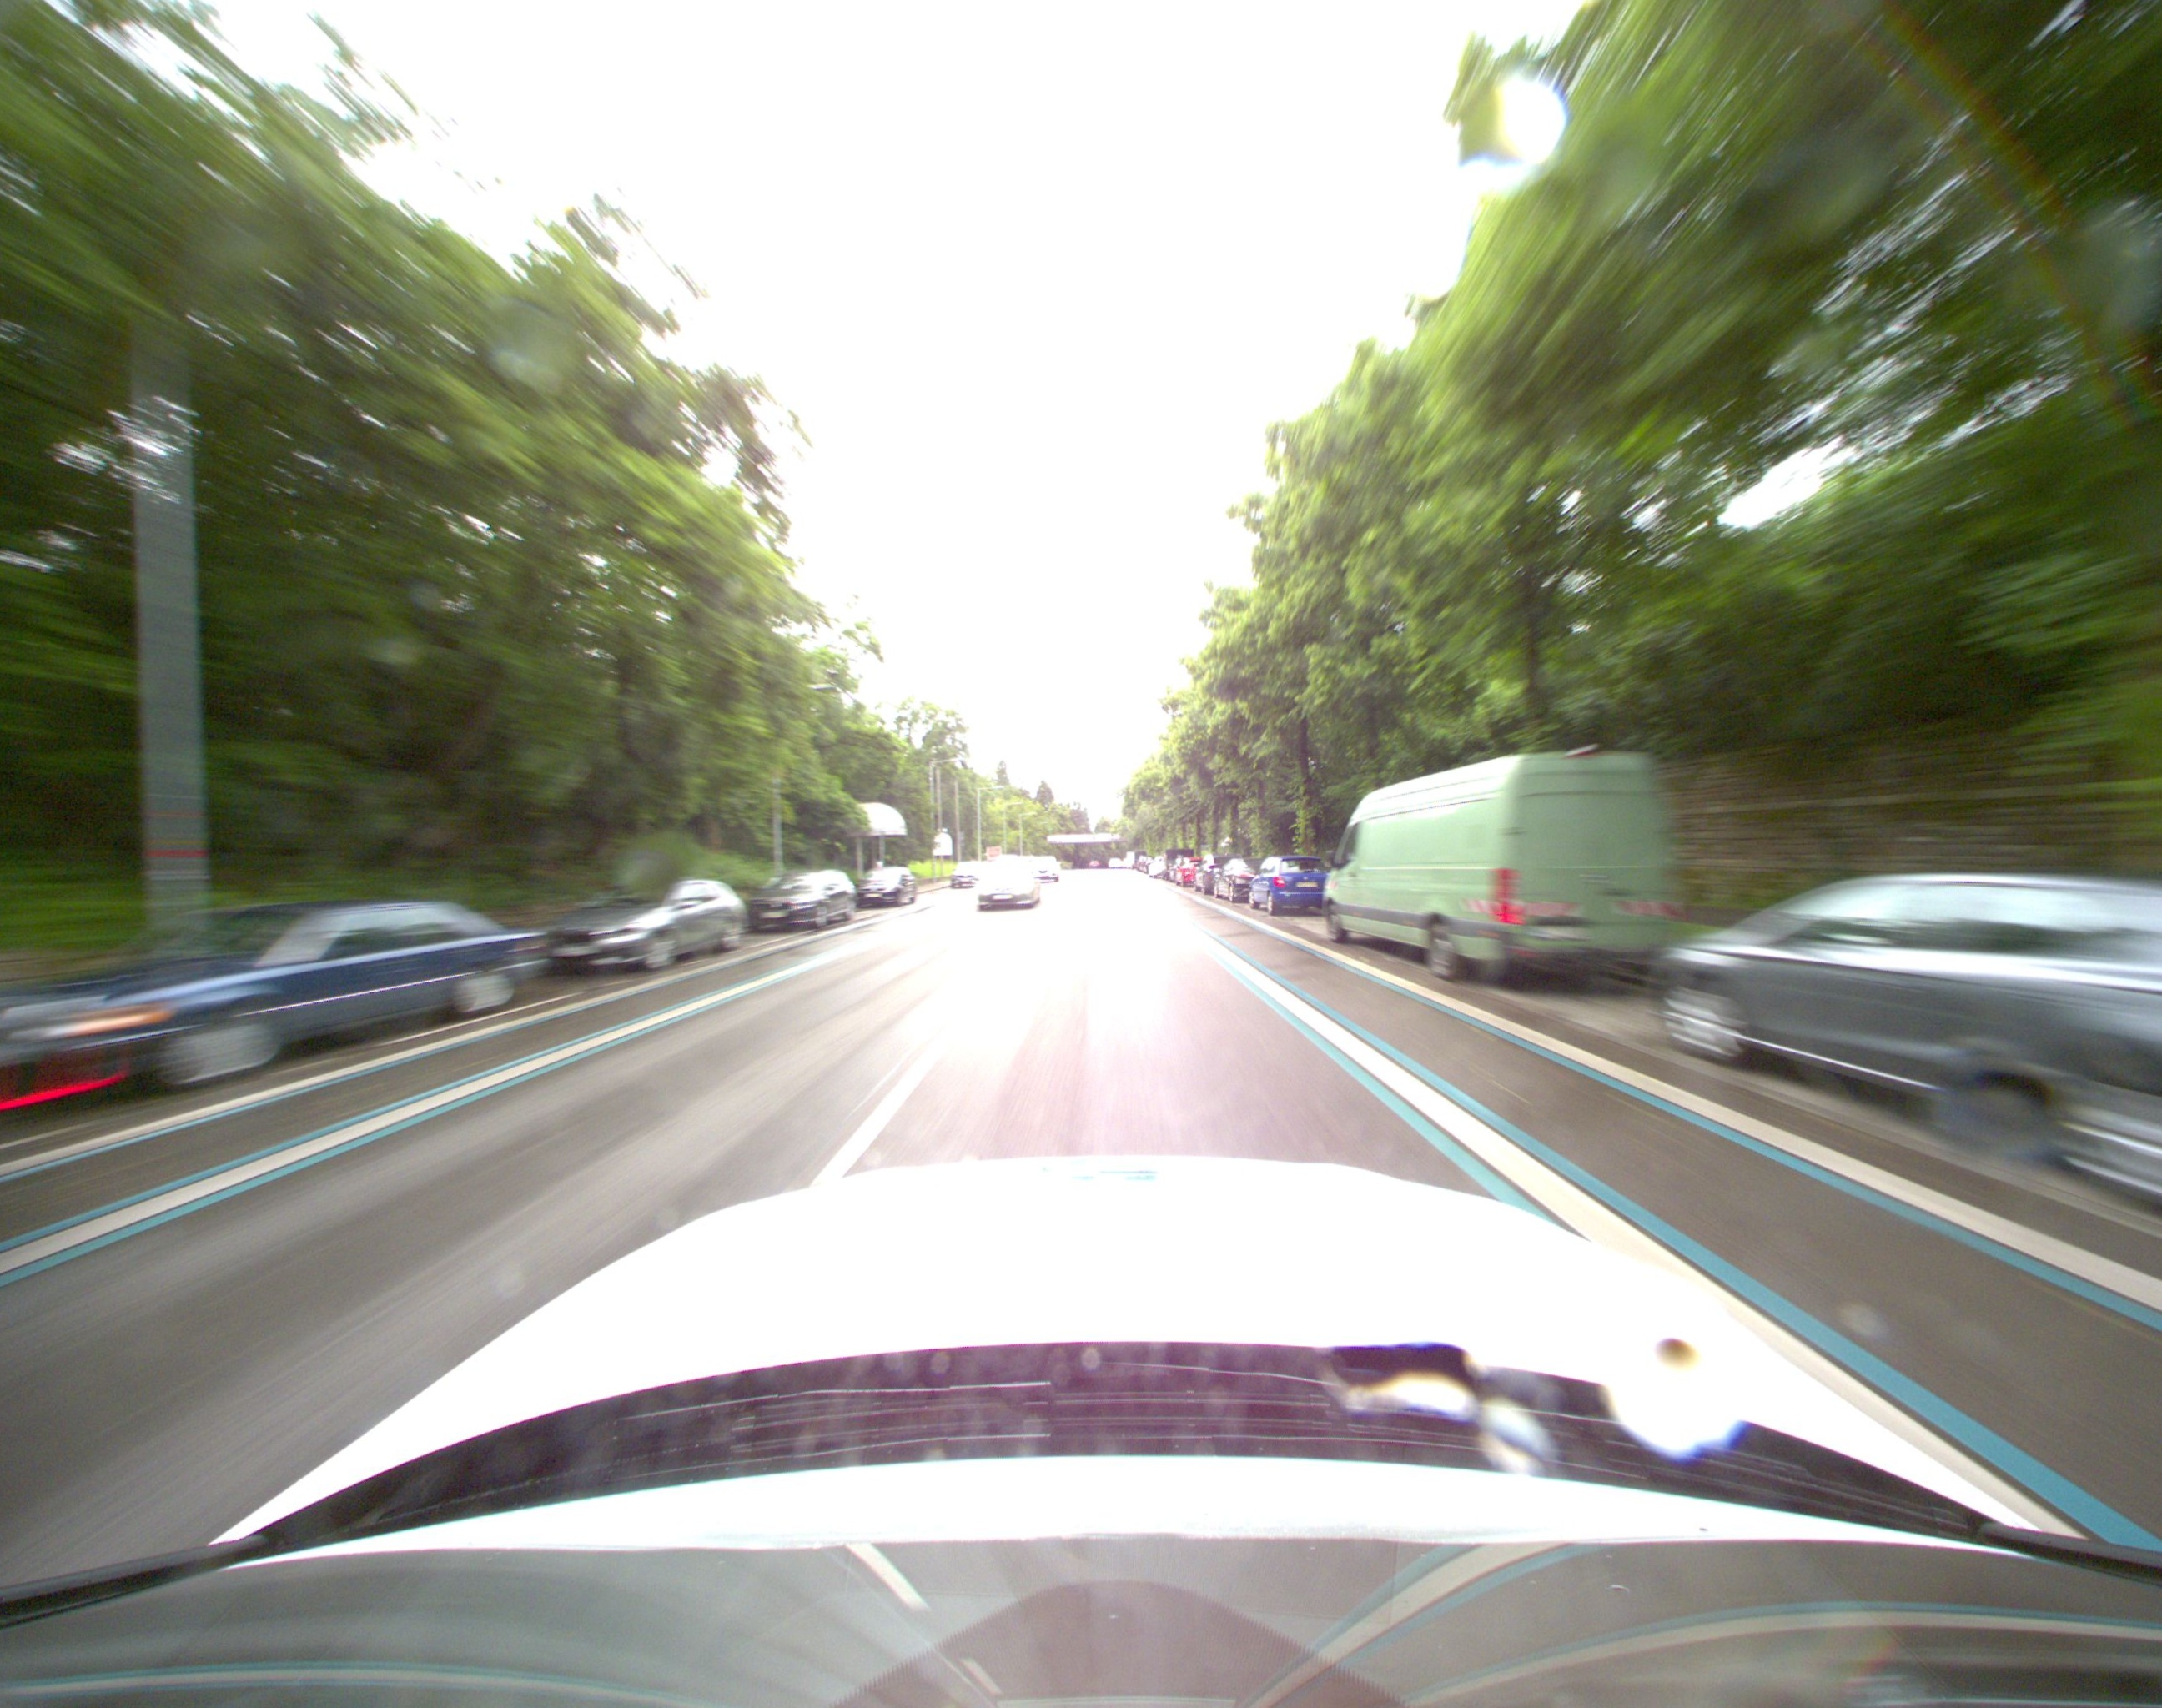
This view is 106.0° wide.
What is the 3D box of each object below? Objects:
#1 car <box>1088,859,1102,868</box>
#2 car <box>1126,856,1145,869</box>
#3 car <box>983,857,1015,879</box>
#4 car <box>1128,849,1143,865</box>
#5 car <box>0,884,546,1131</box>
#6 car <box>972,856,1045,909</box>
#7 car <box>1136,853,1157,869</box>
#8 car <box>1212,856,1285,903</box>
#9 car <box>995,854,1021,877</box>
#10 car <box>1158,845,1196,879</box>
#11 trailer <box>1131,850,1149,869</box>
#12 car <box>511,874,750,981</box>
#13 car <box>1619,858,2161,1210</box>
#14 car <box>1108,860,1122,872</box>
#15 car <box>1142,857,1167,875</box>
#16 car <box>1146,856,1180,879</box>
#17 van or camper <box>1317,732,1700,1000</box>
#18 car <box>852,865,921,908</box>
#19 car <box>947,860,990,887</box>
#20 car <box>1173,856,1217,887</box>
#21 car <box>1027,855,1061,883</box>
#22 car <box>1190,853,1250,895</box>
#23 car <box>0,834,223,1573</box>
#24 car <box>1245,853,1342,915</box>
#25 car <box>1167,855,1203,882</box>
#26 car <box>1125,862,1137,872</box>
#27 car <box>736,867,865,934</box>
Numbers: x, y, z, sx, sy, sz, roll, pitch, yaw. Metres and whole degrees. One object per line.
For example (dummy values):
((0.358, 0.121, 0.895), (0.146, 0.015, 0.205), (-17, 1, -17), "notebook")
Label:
((2.354, 1.646, 138.417), (2.135, 1.492, 4.494), (0, 0, -3), "car")
((6.619, 1.014, 98.550), (1.728, 1.583, 4.148), (-2, 0, -4), "car")
((-6.800, 1.127, 68.180), (1.983, 1.605, 4.987), (-2, 0, 2), "car")
((7.436, 0.414, 111.212), (1.882, 2.127, 4.047), (-1, 0, 2), "car")
((-7.893, 1.153, 8.031), (1.977, 1.472, 4.897), (-1, 0, 0), "car")
((-2.335, 0.885, 27.294), (1.914, 1.560, 4.621), (-1, 0, 1), "car")
((6.546, 0.725, 82.237), (1.726, 1.583, 4.152), (0, 0, -1), "car")
((5.540, 0.785, 27.425), (1.680, 1.456, 4.147), (0, 0, 1), "car")
((-6.622, 1.039, 74.414), (1.907, 1.931, 4.927), (-2, 0, 0), "car")
((6.005, 0.469, 51.287), (1.919, 2.022, 4.664), (-1, 0, 1), "car")
((6.795, 0.654, 94.438), (1.877, 2.166, 3.809), (-2, 0, 1), "trailer")
((-7.638, 1.151, 14.376), (1.778, 1.423, 4.295), (-2, 0, 0), "car")
((5.296, 0.747, 4.744), (1.680, 1.416, 4.101), (-1, 0, 1), "car")
((4.677, 1.608, 111.708), (1.725, 1.583, 4.036), (-2, 0, 0), "car")
((6.314, 0.988, 70.309), (1.726, 1.463, 4.275), (0, 0, -1), "car")
((5.637, 0.896, 56.170), (1.784, 1.543, 4.887), (0, 0, -1), "car")
((5.358, 0.123, 11.751), (2.035, 2.729, 6.902), (0, 0, 1), "van or camper")
((-7.364, 1.192, 31.196), (1.665, 1.457, 3.992), (-1, 0, 0), "car")
((-6.729, 1.142, 49.120), (2.072, 1.482, 4.669), (-1, 0, -2), "car")
((5.640, 0.821, 40.580), (1.680, 1.453, 4.166), (0, 0, 1), "car")
((-2.326, 0.953, 52.471), (1.789, 1.652, 4.130), (-3, 0, 1), "car")
((5.490, 0.744, 32.663), (1.750, 1.589, 4.499), (0, 0, 1), "car")
((-3.467, 0.810, 0.109), (1.958, 1.627, 4.324), (-2, 0, 3), "car")
((5.608, 0.730, 21.893), (1.680, 1.513, 3.836), (0, 0, 1), "car")
((5.783, 0.783, 45.464), (1.600, 1.453, 3.747), (0, 0, 1), "car")
((7.507, 1.982, 123.232), (1.724, 1.462, 4.046), (-2, 0, 2), "car")
((-7.364, 1.165, 21.943), (1.951, 1.463, 4.753), (-1, 0, -2), "car")
